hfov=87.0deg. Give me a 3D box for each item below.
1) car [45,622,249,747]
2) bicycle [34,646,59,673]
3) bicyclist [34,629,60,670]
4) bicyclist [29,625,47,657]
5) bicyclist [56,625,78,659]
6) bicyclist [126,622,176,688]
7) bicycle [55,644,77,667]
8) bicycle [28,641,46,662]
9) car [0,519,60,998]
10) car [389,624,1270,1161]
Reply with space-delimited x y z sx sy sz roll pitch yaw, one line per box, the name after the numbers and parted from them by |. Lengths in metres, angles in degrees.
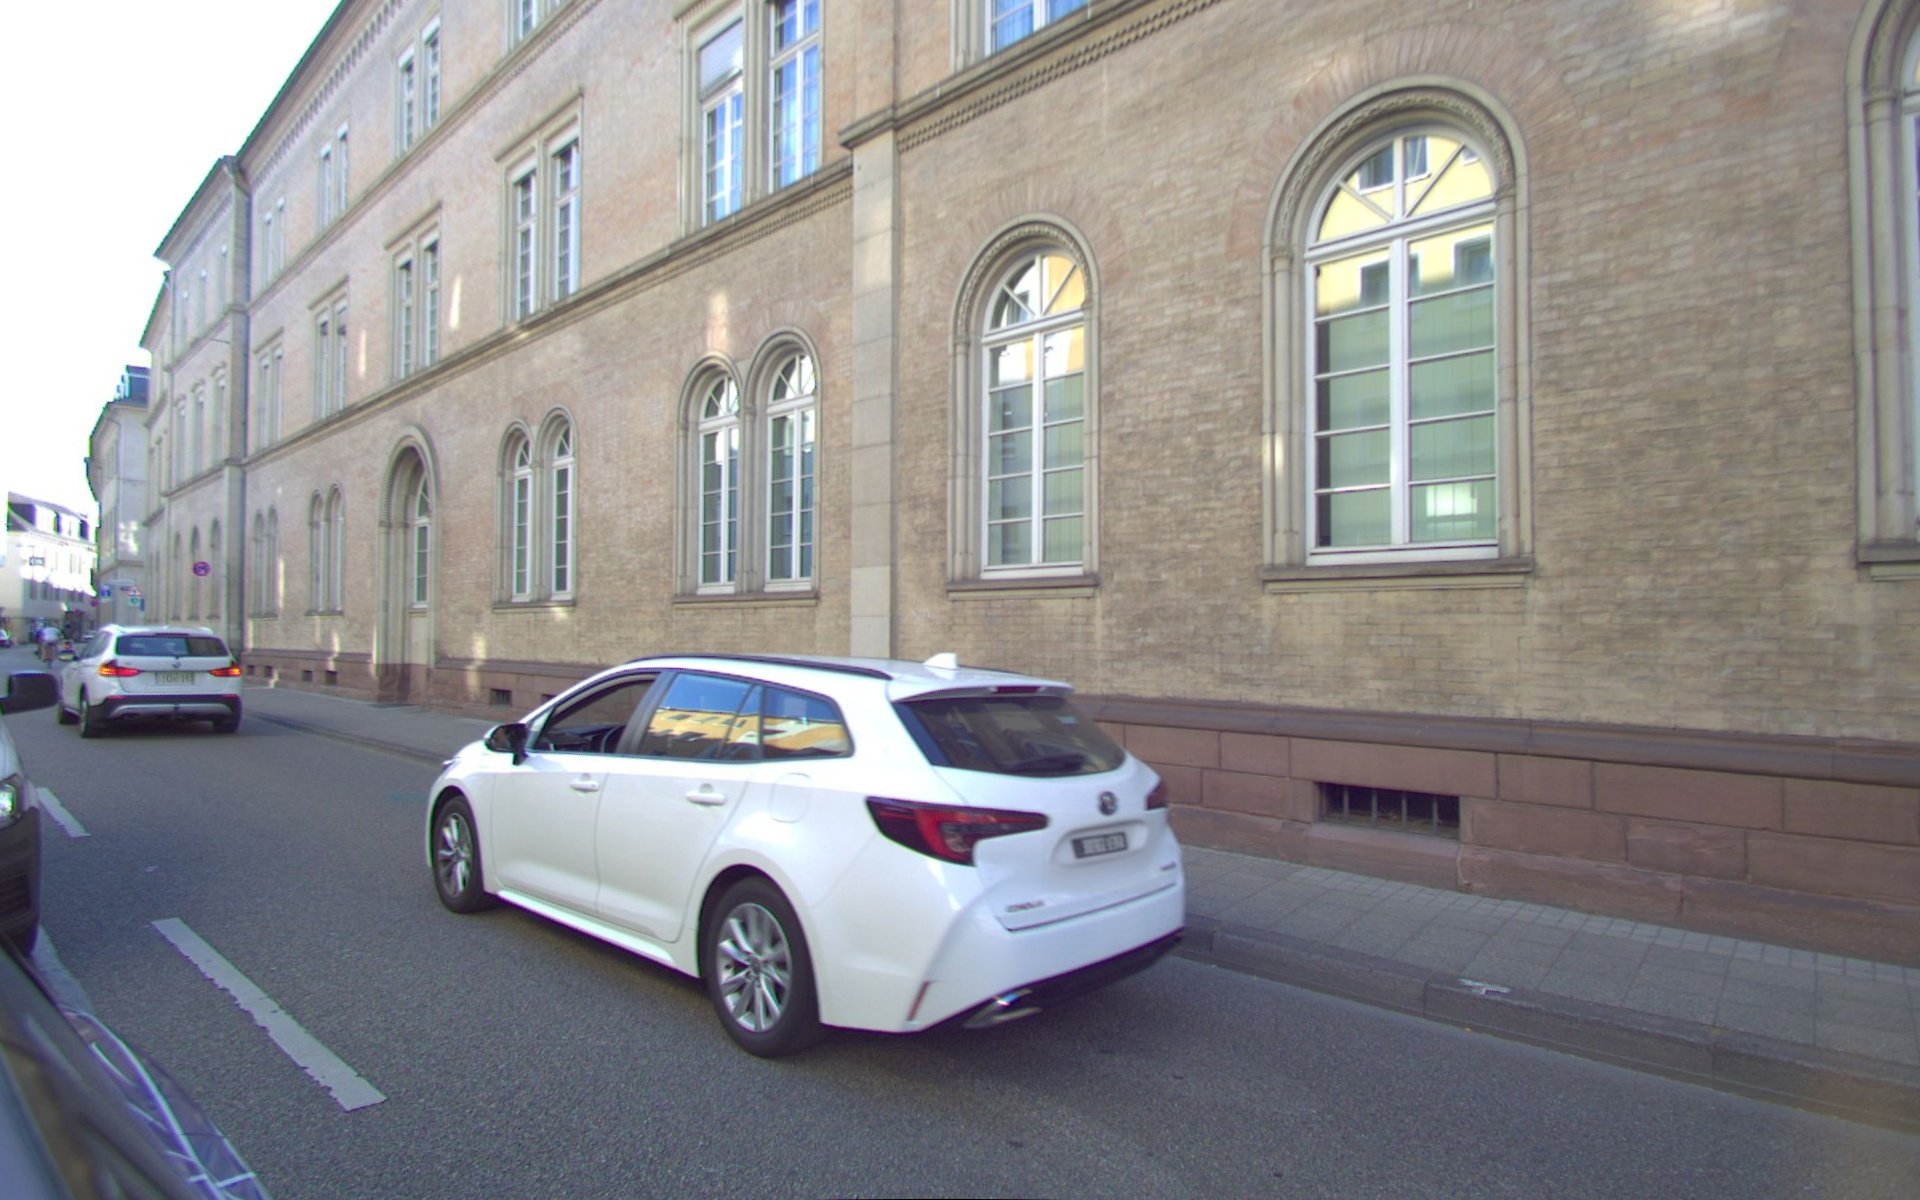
-12.184 1.183 15.064 4.274 1.595 1.667 -2 -5 43 | car
-36.392 2.358 40.311 0.642 1.014 1.808 5 -5 -43 | bicycle
-36.384 1.978 40.324 0.642 1.579 0.961 5 -5 -43 | bicyclist
-45.795 2.025 50.262 0.538 1.545 0.871 5 -5 -39 | bicyclist
-40.624 1.901 46.057 0.642 1.520 1.113 5 -5 -40 | bicyclist
-18.726 1.282 23.425 0.871 1.487 0.678 -2 -5 41 | bicyclist
-40.578 2.521 45.945 0.642 1.014 1.878 5 -5 -40 | bicycle
-45.753 2.532 50.174 0.538 1.014 1.760 5 -5 -39 | bicycle
-6.203 0.657 5.121 5.338 1.850 1.795 -2 -3 41 | car
-1.002 0.904 5.074 4.544 1.487 1.866 -1 -4 42 | car
